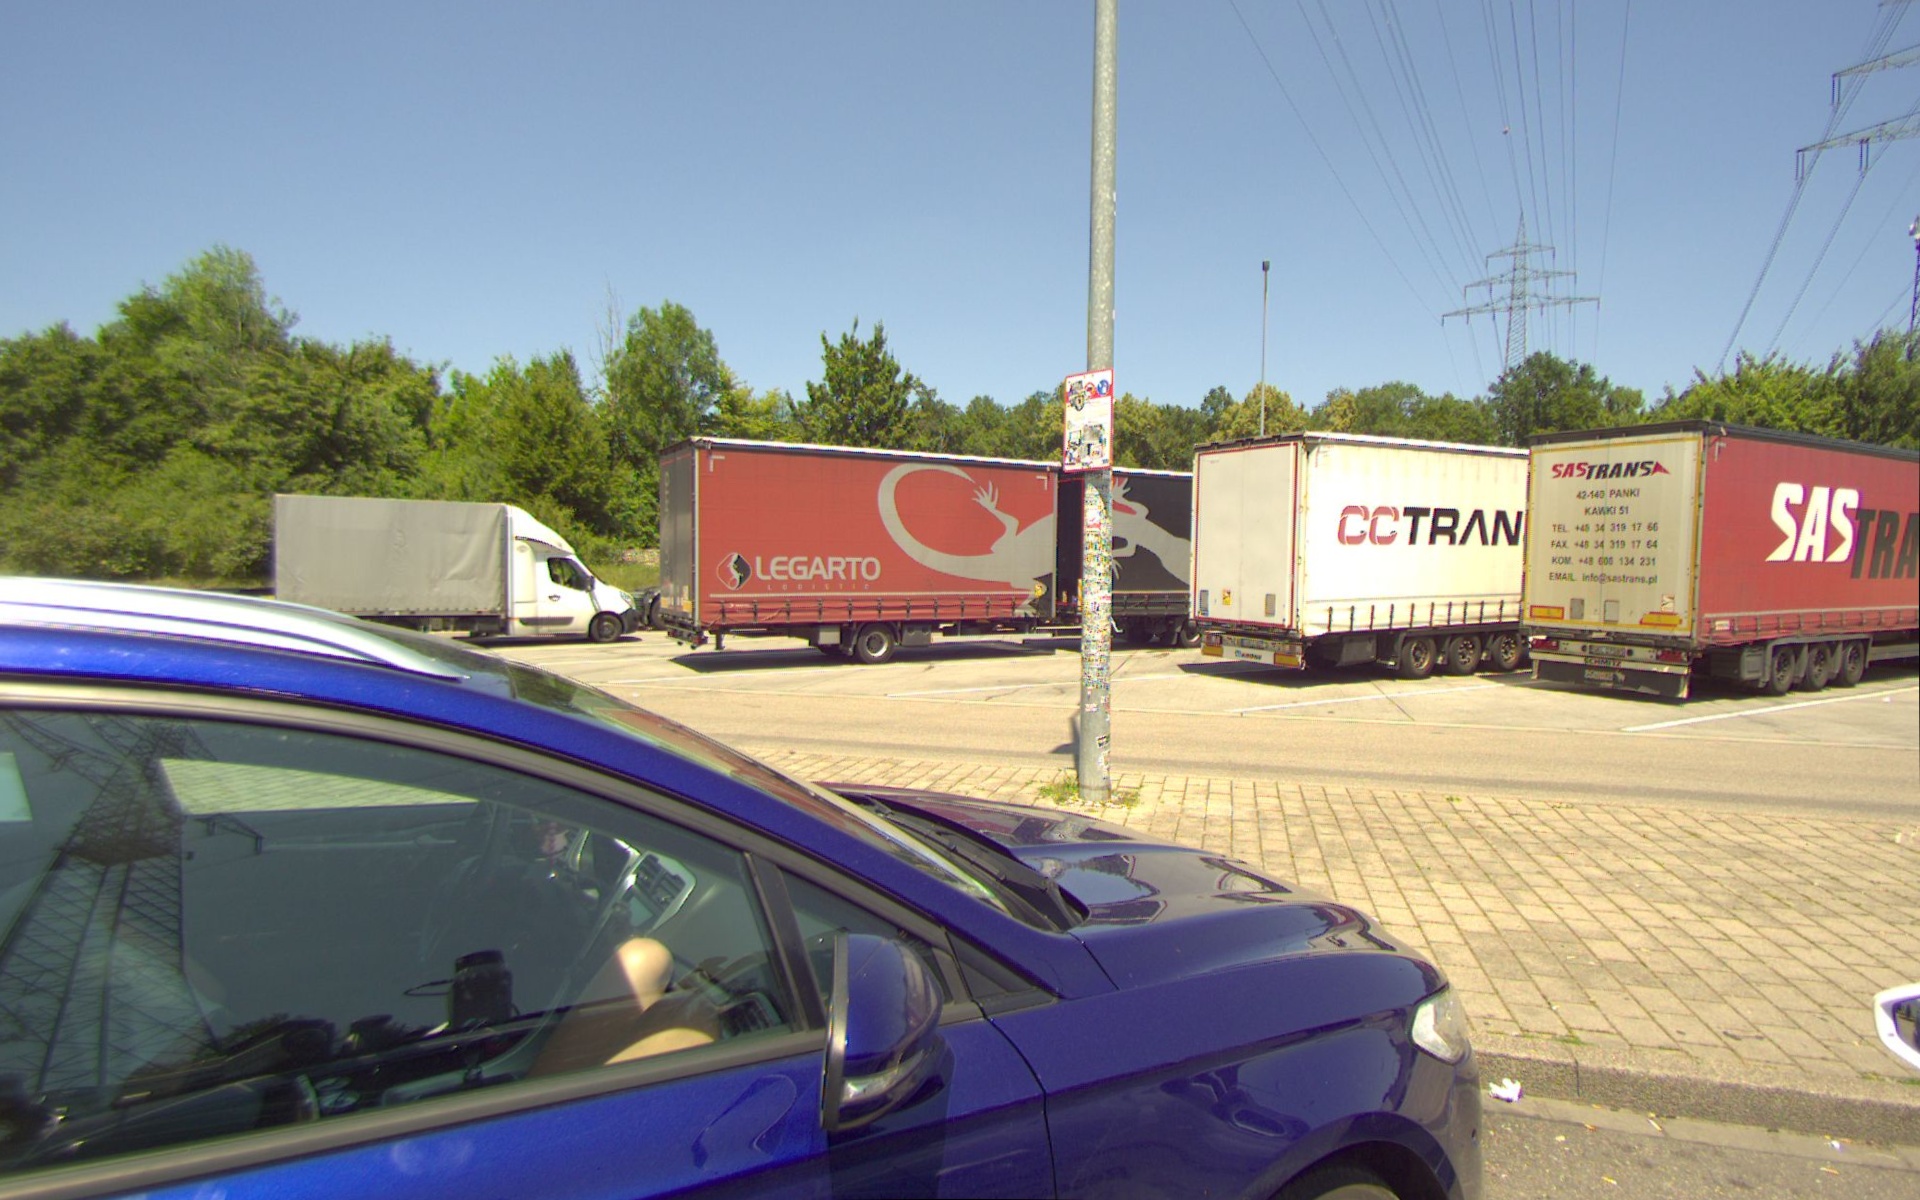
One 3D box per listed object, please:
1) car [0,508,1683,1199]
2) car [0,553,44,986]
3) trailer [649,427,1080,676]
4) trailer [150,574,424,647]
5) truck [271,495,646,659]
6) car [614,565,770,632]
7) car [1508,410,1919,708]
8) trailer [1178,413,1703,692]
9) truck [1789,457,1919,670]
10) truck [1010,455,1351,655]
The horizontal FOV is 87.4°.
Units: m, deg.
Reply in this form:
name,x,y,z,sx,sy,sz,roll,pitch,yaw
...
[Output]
name,x,y,z,sx,sy,sz,roll,pitch,yaw
car,-0.984,0.667,1.465,4.380,1.464,1.771,0,0,-32
car,-4.610,0.553,2.117,3.700,1.432,1.595,0,0,-32
trailer,-1.741,-0.925,20.506,8.389,4.248,2.800,-1,2,-30
trailer,-15.947,0.248,24.181,5.332,1.617,1.585,0,0,-30
truck,-11.112,-0.579,22.875,7.219,3.277,2.308,-2,3,-29
car,-7.602,-0.040,28.517,3.953,1.773,1.902,0,0,-30
car,15.219,-0.692,18.455,12.777,4.169,2.683,-1,3,-30
trailer,10.113,-0.880,20.068,12.786,4.325,2.800,-1,2,-31
truck,21.144,-0.772,21.865,6.163,4.169,2.683,-1,3,-30
truck,5.605,-1.073,24.829,8.683,4.248,2.800,-1,2,-30
